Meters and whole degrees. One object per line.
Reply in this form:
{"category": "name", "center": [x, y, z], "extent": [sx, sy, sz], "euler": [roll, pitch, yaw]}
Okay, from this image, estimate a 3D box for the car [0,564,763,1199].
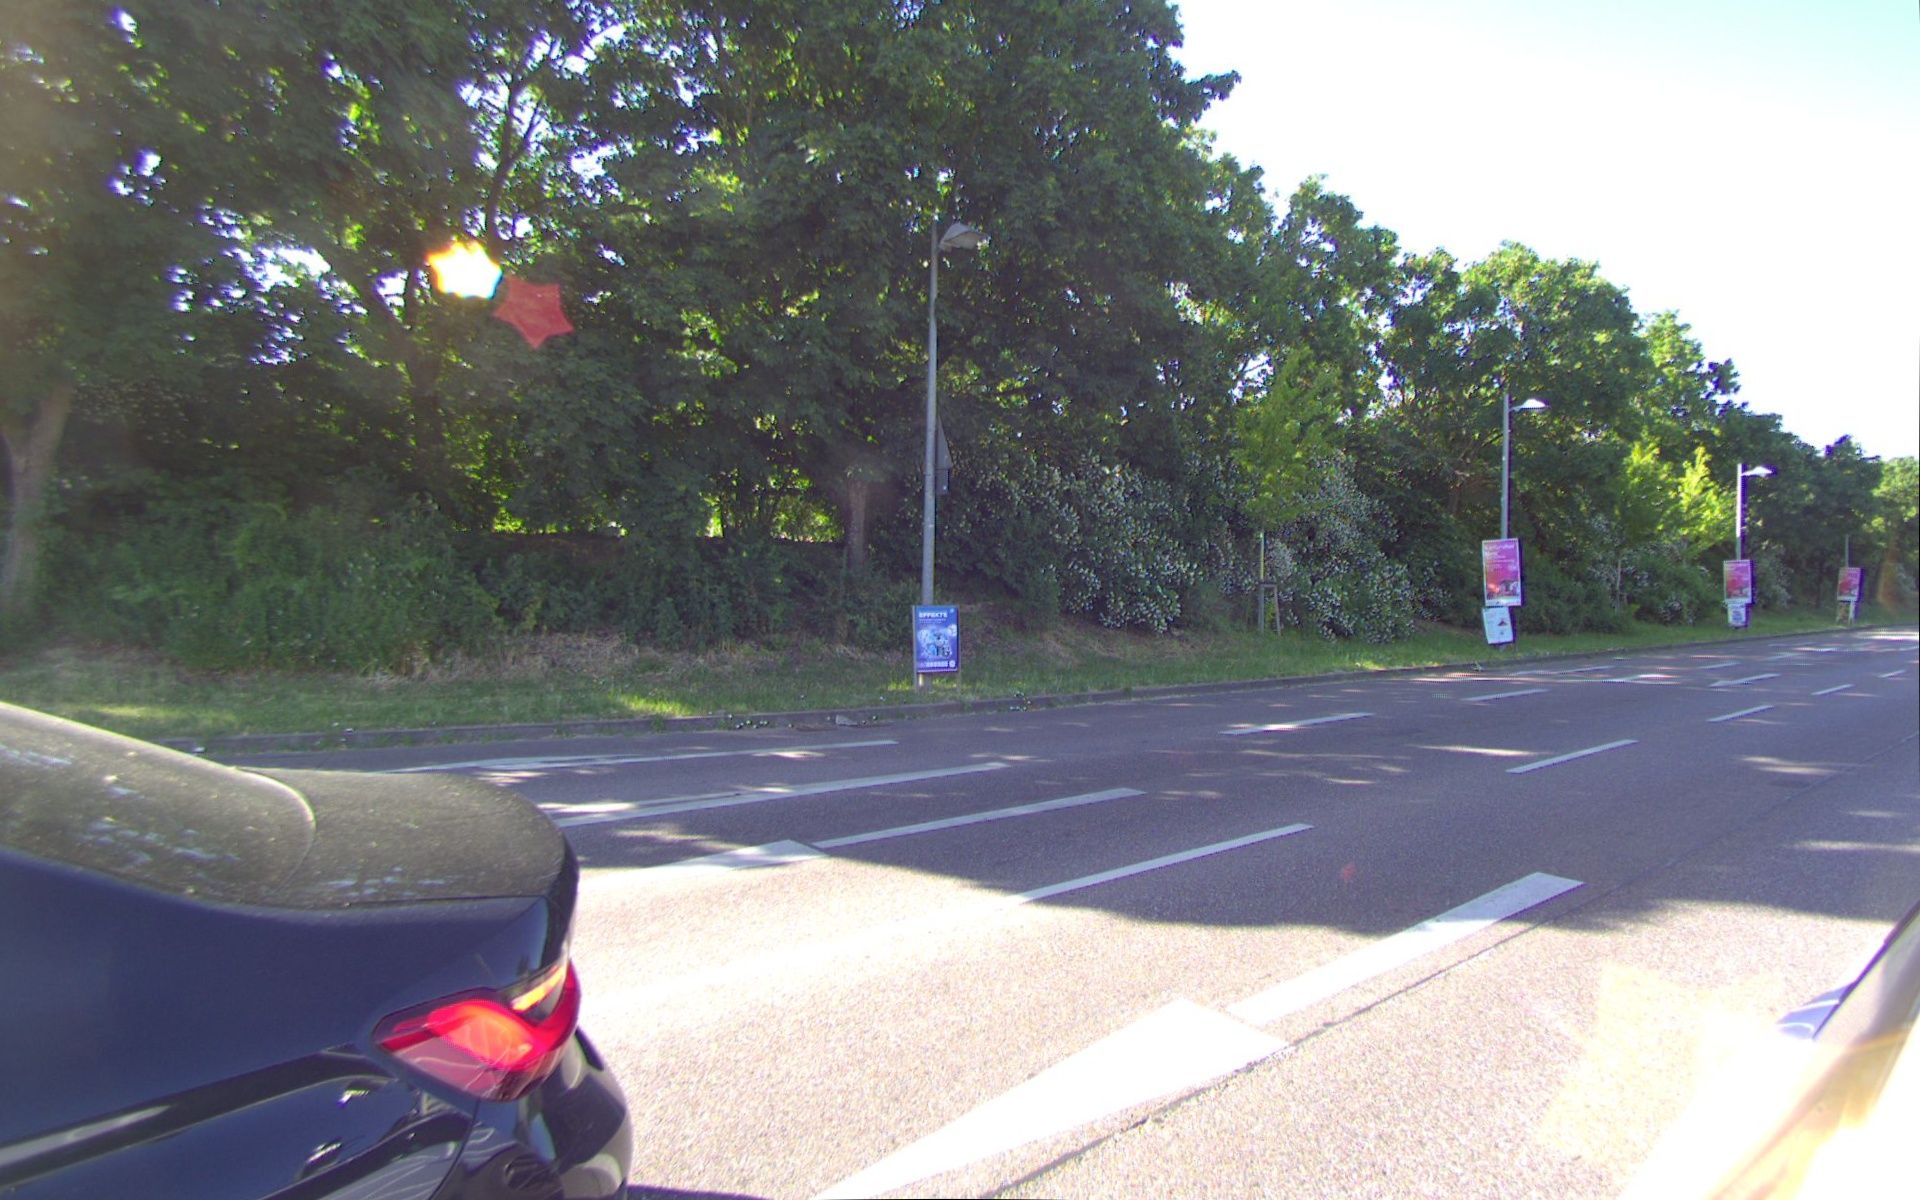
{"category": "car", "center": [-2.544, 0.657, 0.728], "extent": [4.364, 1.415, 1.874], "euler": [0, 1, -40]}
